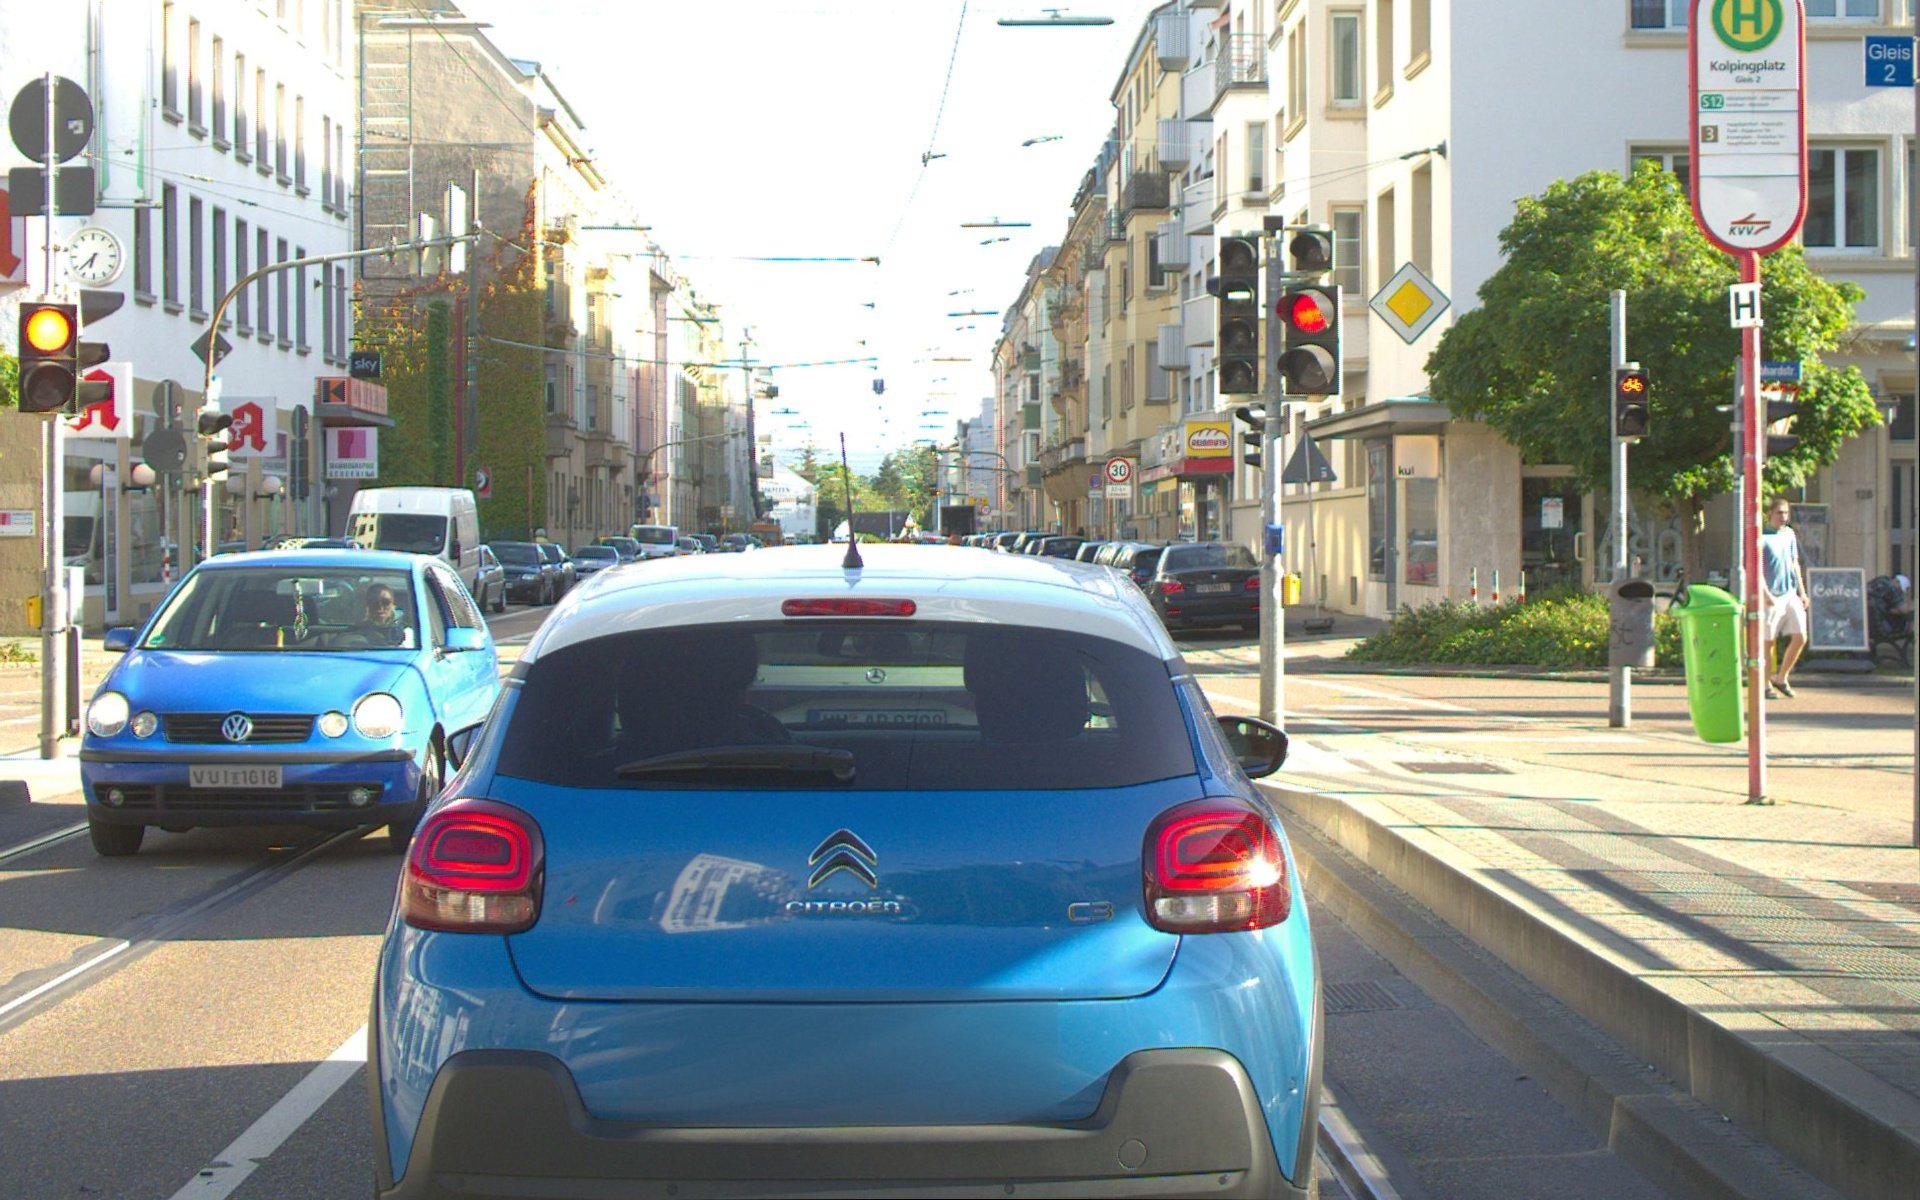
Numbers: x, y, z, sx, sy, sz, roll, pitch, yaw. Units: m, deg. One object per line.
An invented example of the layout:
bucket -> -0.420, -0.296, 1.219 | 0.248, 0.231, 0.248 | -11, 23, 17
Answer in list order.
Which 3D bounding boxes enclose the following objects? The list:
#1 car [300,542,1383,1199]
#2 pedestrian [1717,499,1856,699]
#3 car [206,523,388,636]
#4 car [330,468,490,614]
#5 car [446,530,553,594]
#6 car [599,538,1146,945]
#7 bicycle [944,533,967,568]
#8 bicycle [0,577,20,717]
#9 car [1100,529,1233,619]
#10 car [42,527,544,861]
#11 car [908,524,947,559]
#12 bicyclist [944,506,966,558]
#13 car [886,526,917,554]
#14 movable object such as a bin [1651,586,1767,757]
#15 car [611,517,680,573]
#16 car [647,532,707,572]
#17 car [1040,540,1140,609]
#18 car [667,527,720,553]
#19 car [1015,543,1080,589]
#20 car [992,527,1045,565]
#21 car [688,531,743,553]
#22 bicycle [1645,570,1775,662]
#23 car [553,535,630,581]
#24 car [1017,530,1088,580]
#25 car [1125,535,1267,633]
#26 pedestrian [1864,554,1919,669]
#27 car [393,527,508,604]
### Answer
car -> -0.221, 0.633, 7.453 | 1.728, 1.477, 3.827 | 1, 1, -1
pedestrian -> 7.932, -0.008, 33.032 | 0.981, 1.871, 1.129 | 1, 0, -3
car -> -10.165, -0.324, 53.014 | 1.993, 1.563, 4.403 | 3, 0, -2
car -> -10.071, -1.093, 63.365 | 2.085, 2.533, 6.206 | 1, 1, -2
car -> -10.516, -0.860, 78.814 | 1.993, 1.393, 4.157 | 1, 1, -2
car -> -0.355, 0.478, 15.040 | 1.984, 1.459, 4.816 | 1, 1, -1
bicycle -> -0.179, -1.961, 135.562 | 0.920, 1.384, 3.132 | 0, 1, 0
bicycle -> -8.418, 0.370, 26.847 | 0.730, 1.109, 1.972 | 1, 1, 44
car -> 3.416, -0.456, 57.457 | 1.993, 1.459, 4.000 | 0, 1, 0
car -> -3.259, 0.387, 17.540 | 1.667, 1.482, 4.000 | 1, 1, 2
car -> -1.689, -3.005, 176.552 | 1.993, 1.766, 4.000 | 0, 1, -1
bicyclist -> -0.187, -2.672, 135.615 | 0.809, 2.007, 0.922 | 1, 0, -1
car -> -3.742, -3.837, 219.445 | 1.993, 1.772, 4.000 | 0, 1, -1
movable object such as a bin -> 3.506, 0.329, 16.116 | 0.449, 0.783, 0.489 | 0, 1, 2
car -> -11.663, -2.027, 127.542 | 2.006, 2.007, 4.689 | 1, 1, 1
car -> -11.285, -1.920, 137.227 | 1.955, 1.547, 3.938 | 1, 1, 2
car -> 2.755, -0.569, 73.827 | 1.993, 1.459, 4.000 | 0, 1, 0
car -> -11.716, -2.646, 151.203 | 1.993, 1.152, 4.000 | 0, 1, 0
car -> 2.790, -1.108, 110.192 | 1.993, 1.459, 4.000 | 0, 1, 0
car -> 2.270, -2.112, 133.852 | 1.993, 1.459, 4.000 | 0, 1, 0
car -> -13.157, -3.135, 185.429 | 1.994, 1.152, 4.513 | 0, 1, 9
bicycle -> 9.418, 0.199, 43.210 | 1.568, 1.117, 0.300 | 1, 0, 11
car -> -11.116, -1.258, 104.010 | 1.993, 1.320, 3.923 | 1, 1, -2
car -> 2.748, -1.355, 102.687 | 1.993, 1.459, 4.504 | 0, 1, 0
car -> 3.597, -0.274, 52.975 | 1.909, 1.459, 4.000 | 0, 1, 0
pedestrian -> 10.868, 0.128, 39.708 | 0.741, 1.311, 0.627 | 0, 1, 23
car -> -10.362, -0.705, 70.126 | 1.888, 1.491, 3.562 | 1, 1, -2
